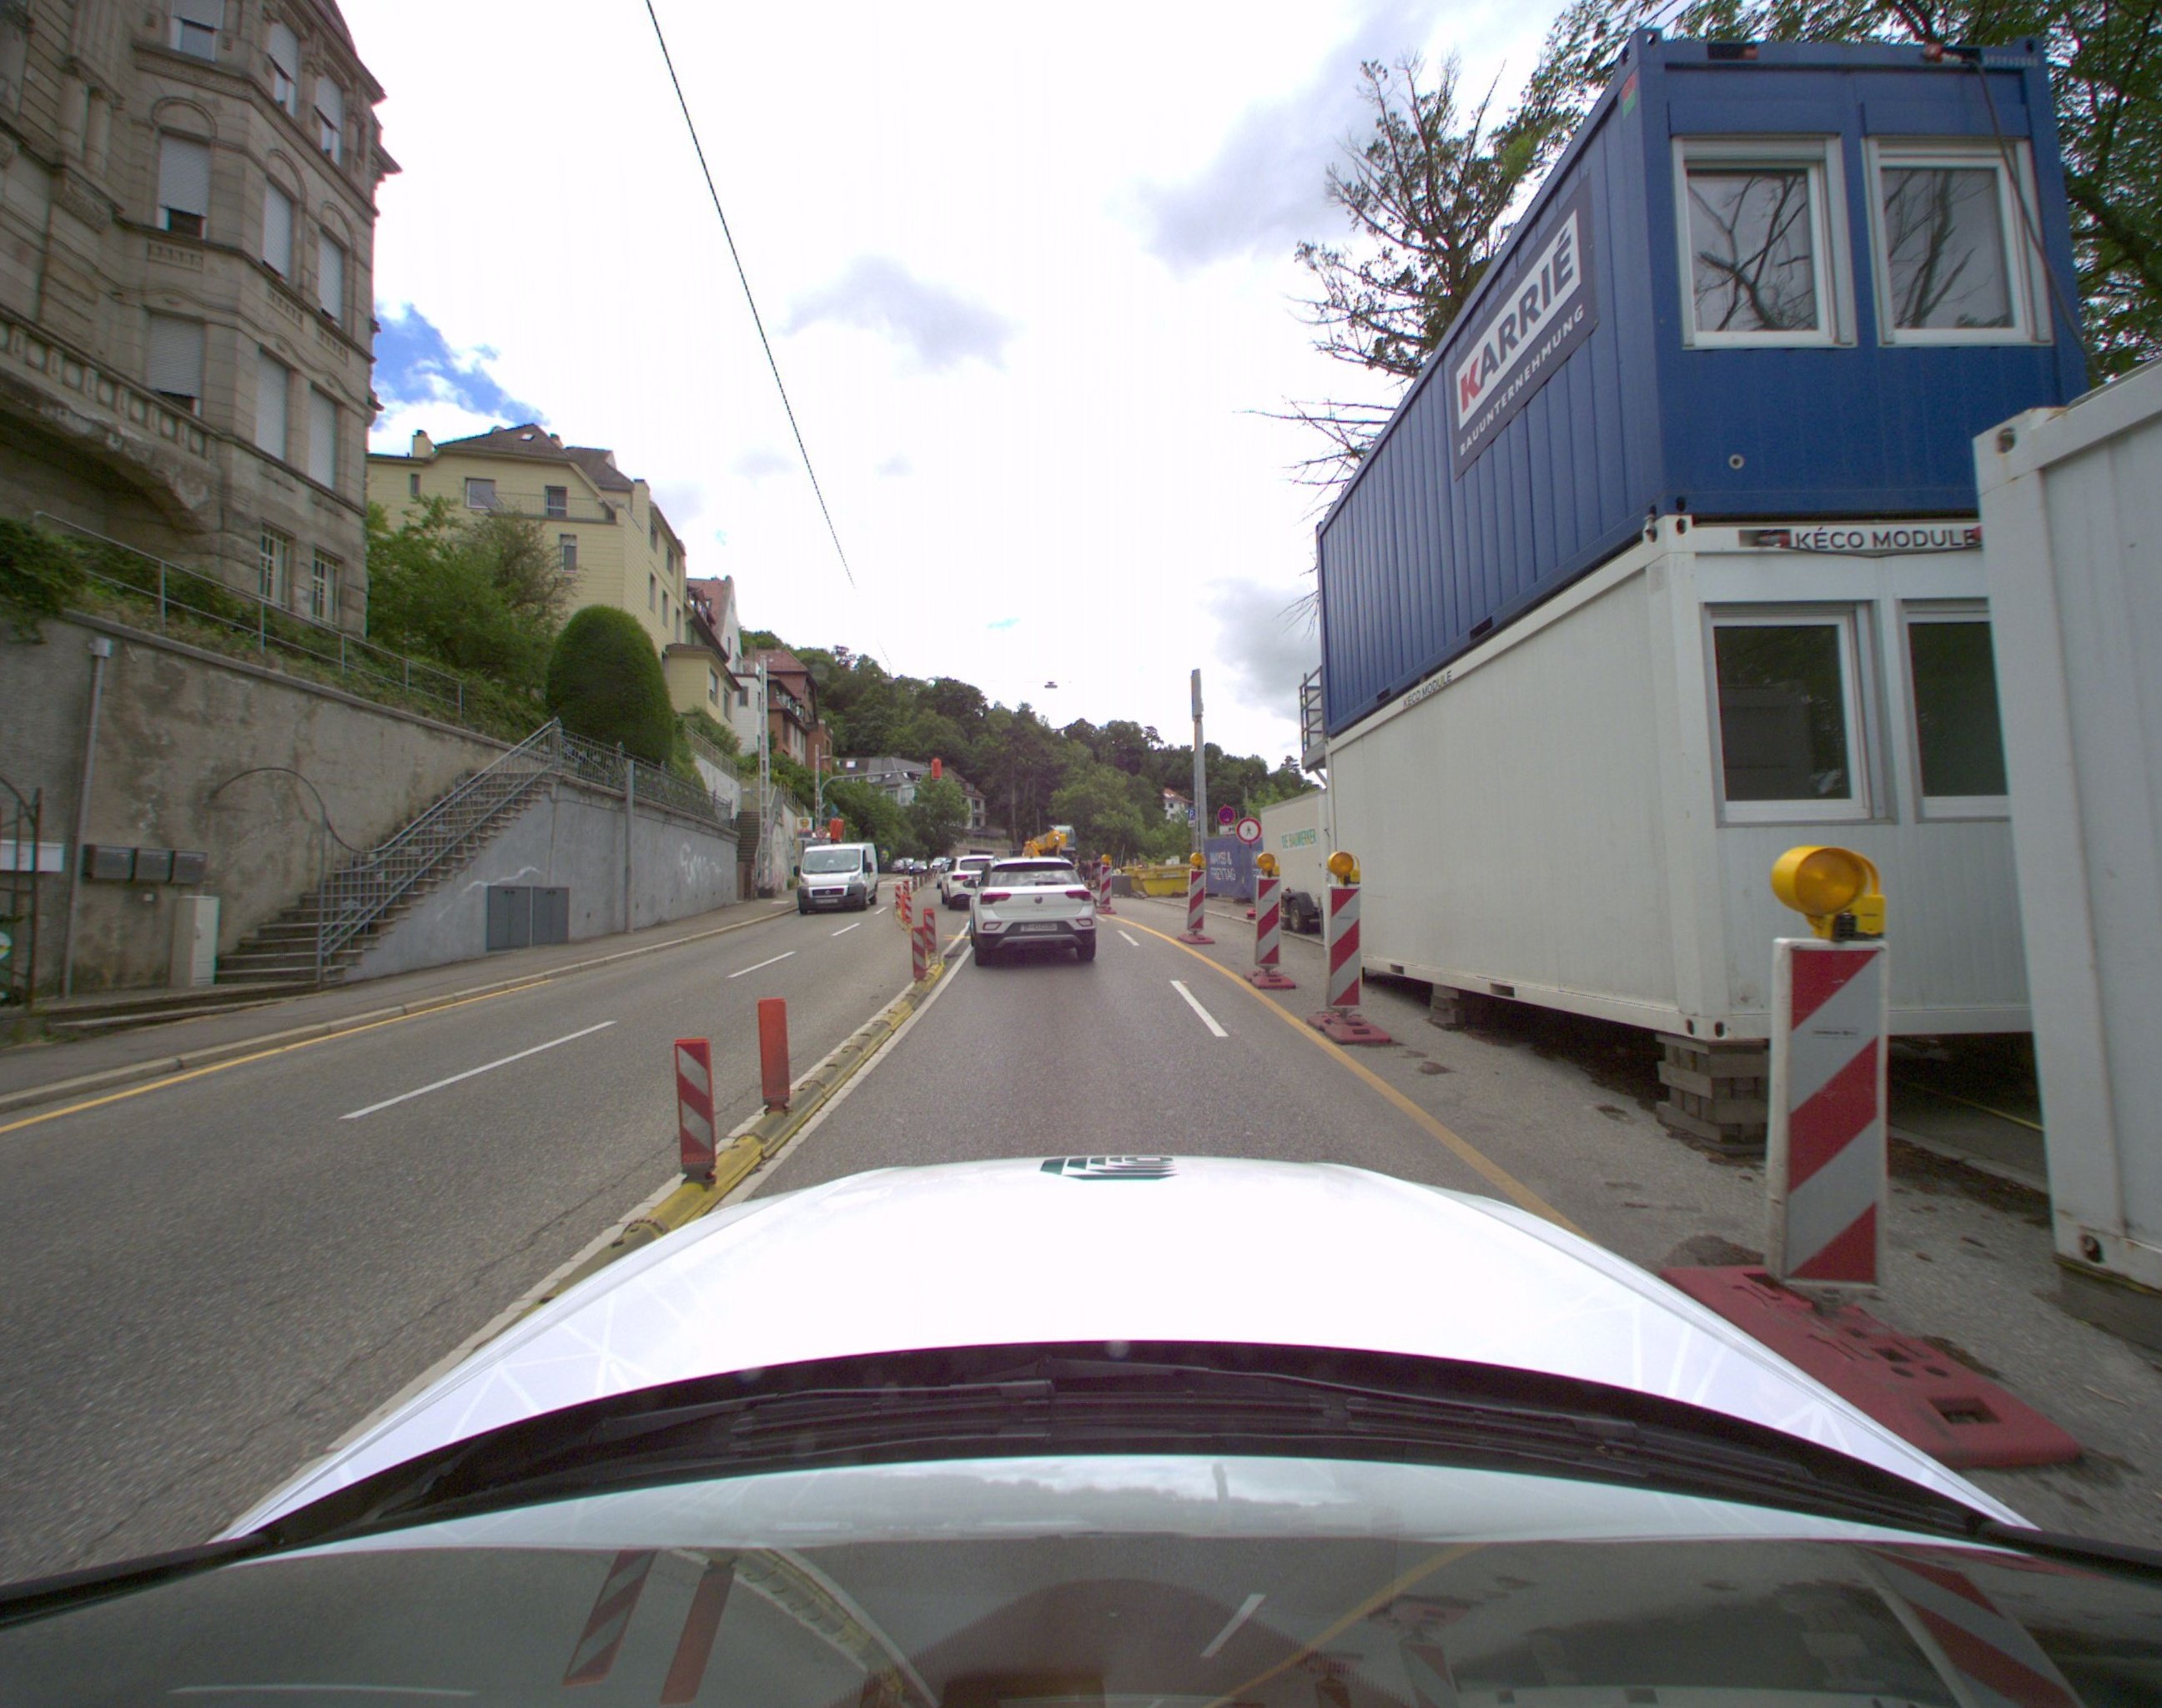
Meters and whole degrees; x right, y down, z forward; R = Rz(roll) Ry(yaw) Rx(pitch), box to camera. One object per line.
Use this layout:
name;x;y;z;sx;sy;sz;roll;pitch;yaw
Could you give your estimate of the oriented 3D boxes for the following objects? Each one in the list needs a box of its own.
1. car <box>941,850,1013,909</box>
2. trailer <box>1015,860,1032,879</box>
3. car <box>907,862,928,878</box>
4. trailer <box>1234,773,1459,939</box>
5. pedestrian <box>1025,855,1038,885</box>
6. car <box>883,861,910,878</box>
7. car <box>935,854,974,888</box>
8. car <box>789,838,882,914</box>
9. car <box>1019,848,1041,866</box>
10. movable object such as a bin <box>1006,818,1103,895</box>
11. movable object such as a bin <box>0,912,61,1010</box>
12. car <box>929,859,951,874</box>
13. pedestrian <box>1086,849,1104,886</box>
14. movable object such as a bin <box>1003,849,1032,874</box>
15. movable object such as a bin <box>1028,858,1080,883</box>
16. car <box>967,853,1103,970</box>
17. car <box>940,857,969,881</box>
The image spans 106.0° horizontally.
car;-3.372;0.765;25.807;1.812;1.663;3.981;-2;0;-14
trailer;-4.549;1.219;64.861;1.285;1.475;3.629;0;0;-3
car;-15.030;1.469;74.913;1.671;1.430;3.576;-2;0;-9
trailer;4.755;0.033;15.590;2.104;2.550;5.108;-3;0;-6
pedestrian;-2.922;0.935;47.758;0.645;1.701;0.847;0;0;-10
car;-17.688;1.448;78.226;1.791;1.510;3.994;2;-1;-4
car;-6.724;0.876;43.071;1.811;1.663;3.984;-2;0;-11
car;-8.025;0.672;27.140;2.066;2.187;4.949;-3;0;-7
car;-4.578;0.294;72.835;1.792;1.510;3.991;-1;-1;-6
movable object such as a bin;-1.394;0.120;36.386;2.815;3.071;7.786;0;0;-14
movable object such as a bin;-10.666;1.057;8.075;0.452;0.911;0.508;-1;0;0
car;-15.277;1.355;88.282;1.838;1.599;4.258;-1;0;-3
pedestrian;0.687;0.650;40.377;0.692;1.795;0.536;-1;0;-22
movable object such as a bin;-6.955;0.787;89.548;2.199;2.663;4.955;-1;0;8
movable object such as a bin;-1.891;1.061;53.926;2.375;1.561;7.071;0;-1;-11
car;-0.881;0.792;13.141;1.809;1.531;3.989;-2;0;-8
car;-8.724;1.000;56.058;1.795;1.510;3.985;-2;0;-11
